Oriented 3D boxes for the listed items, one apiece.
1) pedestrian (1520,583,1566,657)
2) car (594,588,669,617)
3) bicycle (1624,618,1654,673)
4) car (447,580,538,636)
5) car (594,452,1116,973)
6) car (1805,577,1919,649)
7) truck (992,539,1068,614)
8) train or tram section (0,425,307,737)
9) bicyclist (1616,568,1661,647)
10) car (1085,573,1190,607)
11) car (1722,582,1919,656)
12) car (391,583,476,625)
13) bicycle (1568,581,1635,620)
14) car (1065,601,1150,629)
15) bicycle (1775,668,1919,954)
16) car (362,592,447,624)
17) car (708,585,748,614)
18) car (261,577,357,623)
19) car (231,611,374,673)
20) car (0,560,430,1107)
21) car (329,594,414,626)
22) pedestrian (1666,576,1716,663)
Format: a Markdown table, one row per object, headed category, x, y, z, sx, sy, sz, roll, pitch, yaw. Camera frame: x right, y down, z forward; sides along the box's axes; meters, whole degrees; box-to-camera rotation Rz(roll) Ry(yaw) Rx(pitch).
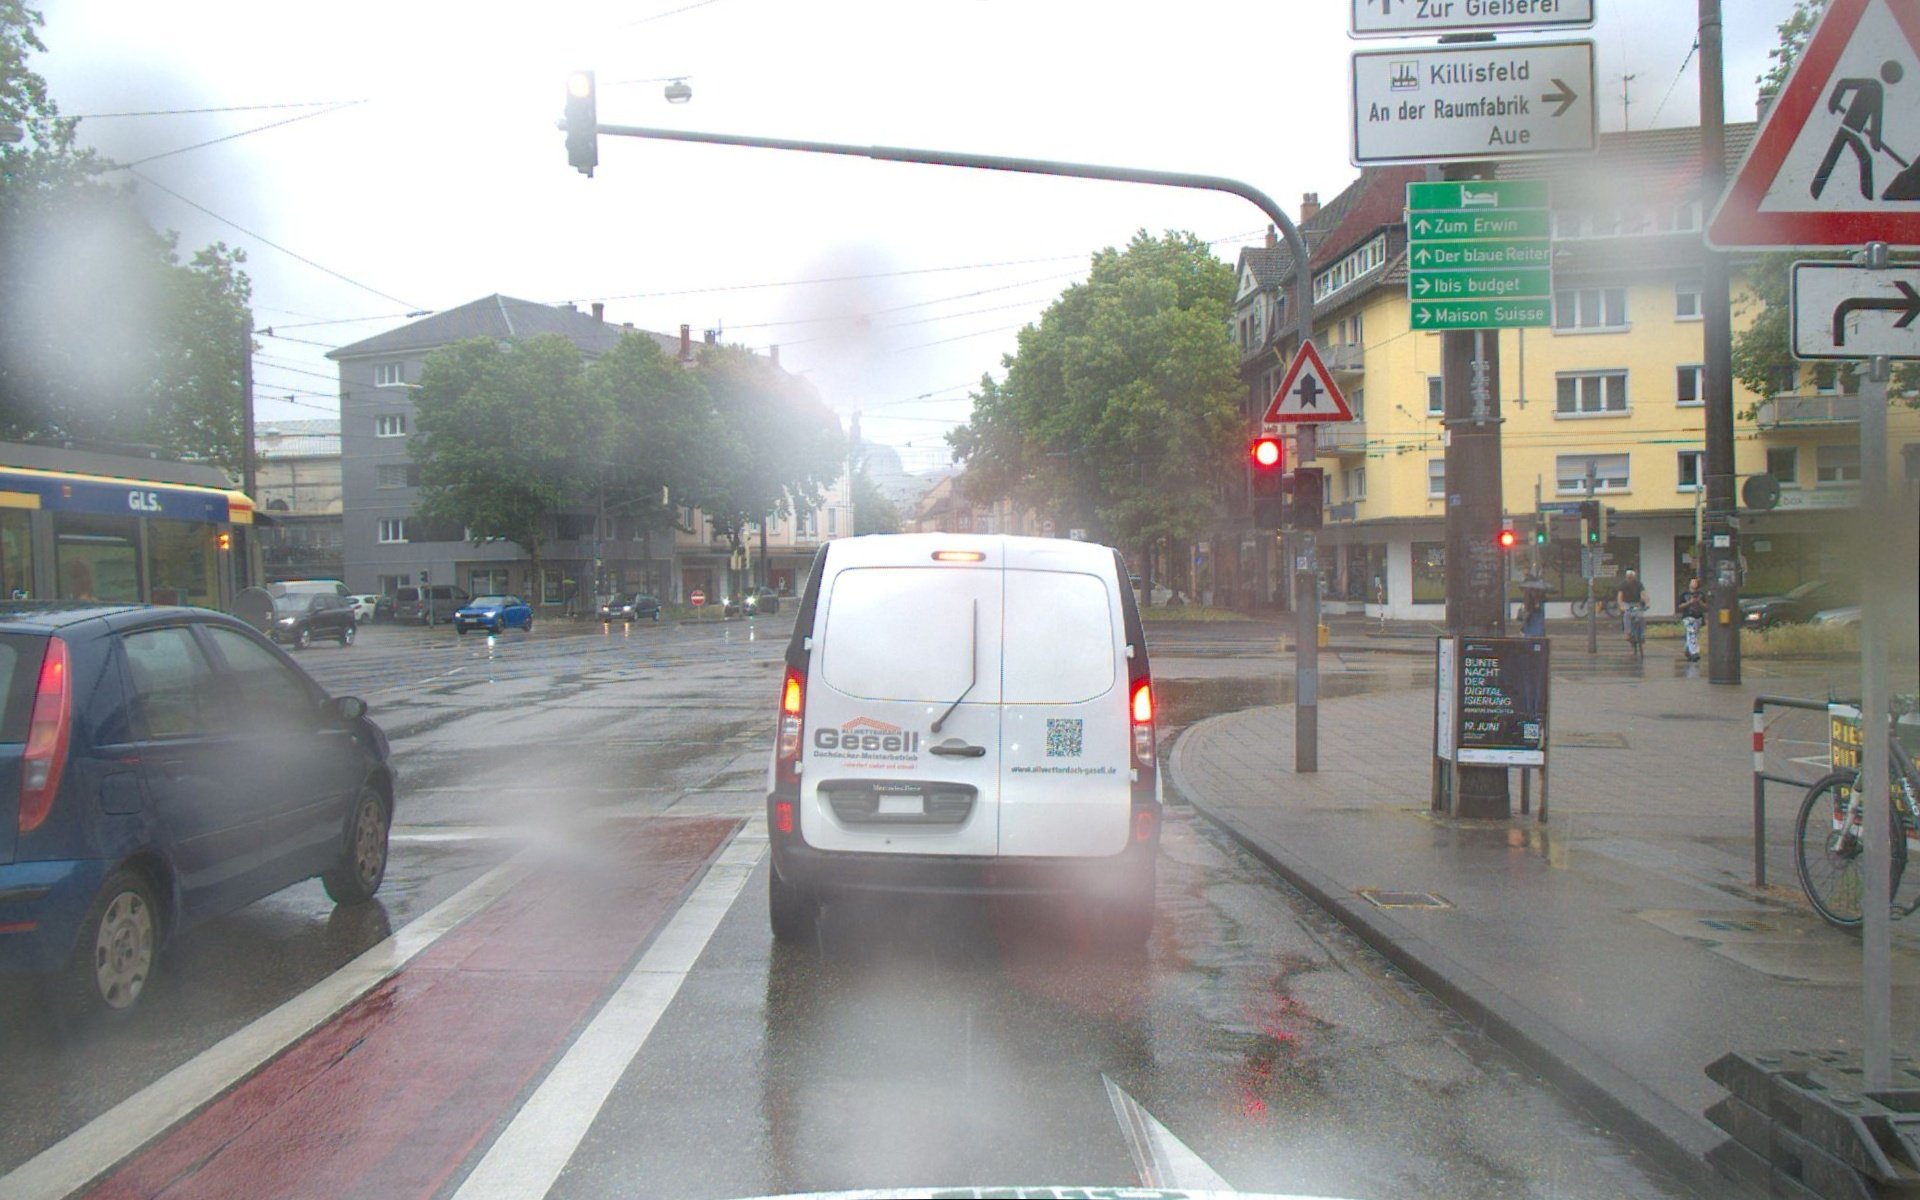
| category | x | y | z | sx | sy | sz | roll | pitch | yaw |
| --- | --- | --- | --- | --- | --- | --- | --- | --- | --- |
| pedestrian | 12.465 | 0.420 | 35.369 | 0.809 | 1.561 | 0.614 | 1 | 0 | -39 |
| car | -15.659 | 0.119 | 78.960 | 1.909 | 1.260 | 4.003 | 0 | 2 | 16 |
| bicycle | 14.094 | 0.931 | 34.357 | 0.449 | 1.045 | 1.902 | 0 | 1 | 19 |
| car | -18.011 | 0.295 | 63.909 | 1.951 | 2.049 | 4.003 | 0 | 0 | 7 |
| car | -0.448 | 0.449 | 9.021 | 2.058 | 2.047 | 4.962 | 0 | 0 | -1 |
| car | 20.747 | 0.262 | 36.038 | 3.854 | 1.516 | 1.808 | 0 | 1 | 15 |
| truck | 5.347 | -1.616 | 121.997 | 3.395 | 5.176 | 15.320 | 0 | 0 | 11 |
| train or tram section | -12.542 | -0.252 | 17.477 | 3.465 | 3.472 | 15.516 | 1 | 0 | 7 |
| bicyclist | 14.111 | 0.154 | 34.402 | 0.860 | 1.611 | 0.860 | 0 | 0 | 23 |
| car | 7.395 | -0.414 | 69.048 | 4.088 | 1.362 | 1.518 | 0 | 1 | -8 |
| car | 20.860 | 0.467 | 39.083 | 4.832 | 1.672 | 2.001 | 0 | -2 | 11 |
| car | -26.803 | 0.195 | 84.299 | 1.954 | 2.049 | 3.996 | 0 | 0 | 26 |
| bicycle | 21.550 | 0.010 | 55.601 | 2.056 | 1.283 | 0.532 | 0 | 1 | 14 |
| car | 6.299 | 0.646 | 70.728 | 3.378 | 1.150 | 1.469 | 0 | 0 | -9 |
| bicycle | 4.255 | 0.915 | 7.090 | 0.503 | 1.126 | 2.017 | 3 | 0 | 1 |
| car | -28.868 | 0.391 | 86.030 | 1.954 | 1.556 | 3.997 | 0 | 2 | 26 |
| car | -12.947 | -0.049 | 92.475 | 1.747 | 1.579 | 3.999 | 0 | 0 | -1 |
| car | -34.170 | -0.029 | 86.981 | 1.953 | 2.236 | 4.787 | 1 | 2 | 22 |
| car | -19.581 | 1.206 | 49.447 | 1.909 | 1.635 | 4.003 | 0 | 2 | 16 |
| car | -3.605 | 0.677 | 6.749 | 1.692 | 1.606 | 3.820 | 0 | 0 | -1 |
| car | -30.982 | 0.509 | 87.168 | 1.915 | 1.522 | 3.997 | 0 | 2 | 26 |
| pedestrian | 14.562 | 0.382 | 32.975 | 0.886 | 1.698 | 1.020 | 0 | 0 | 23 |
